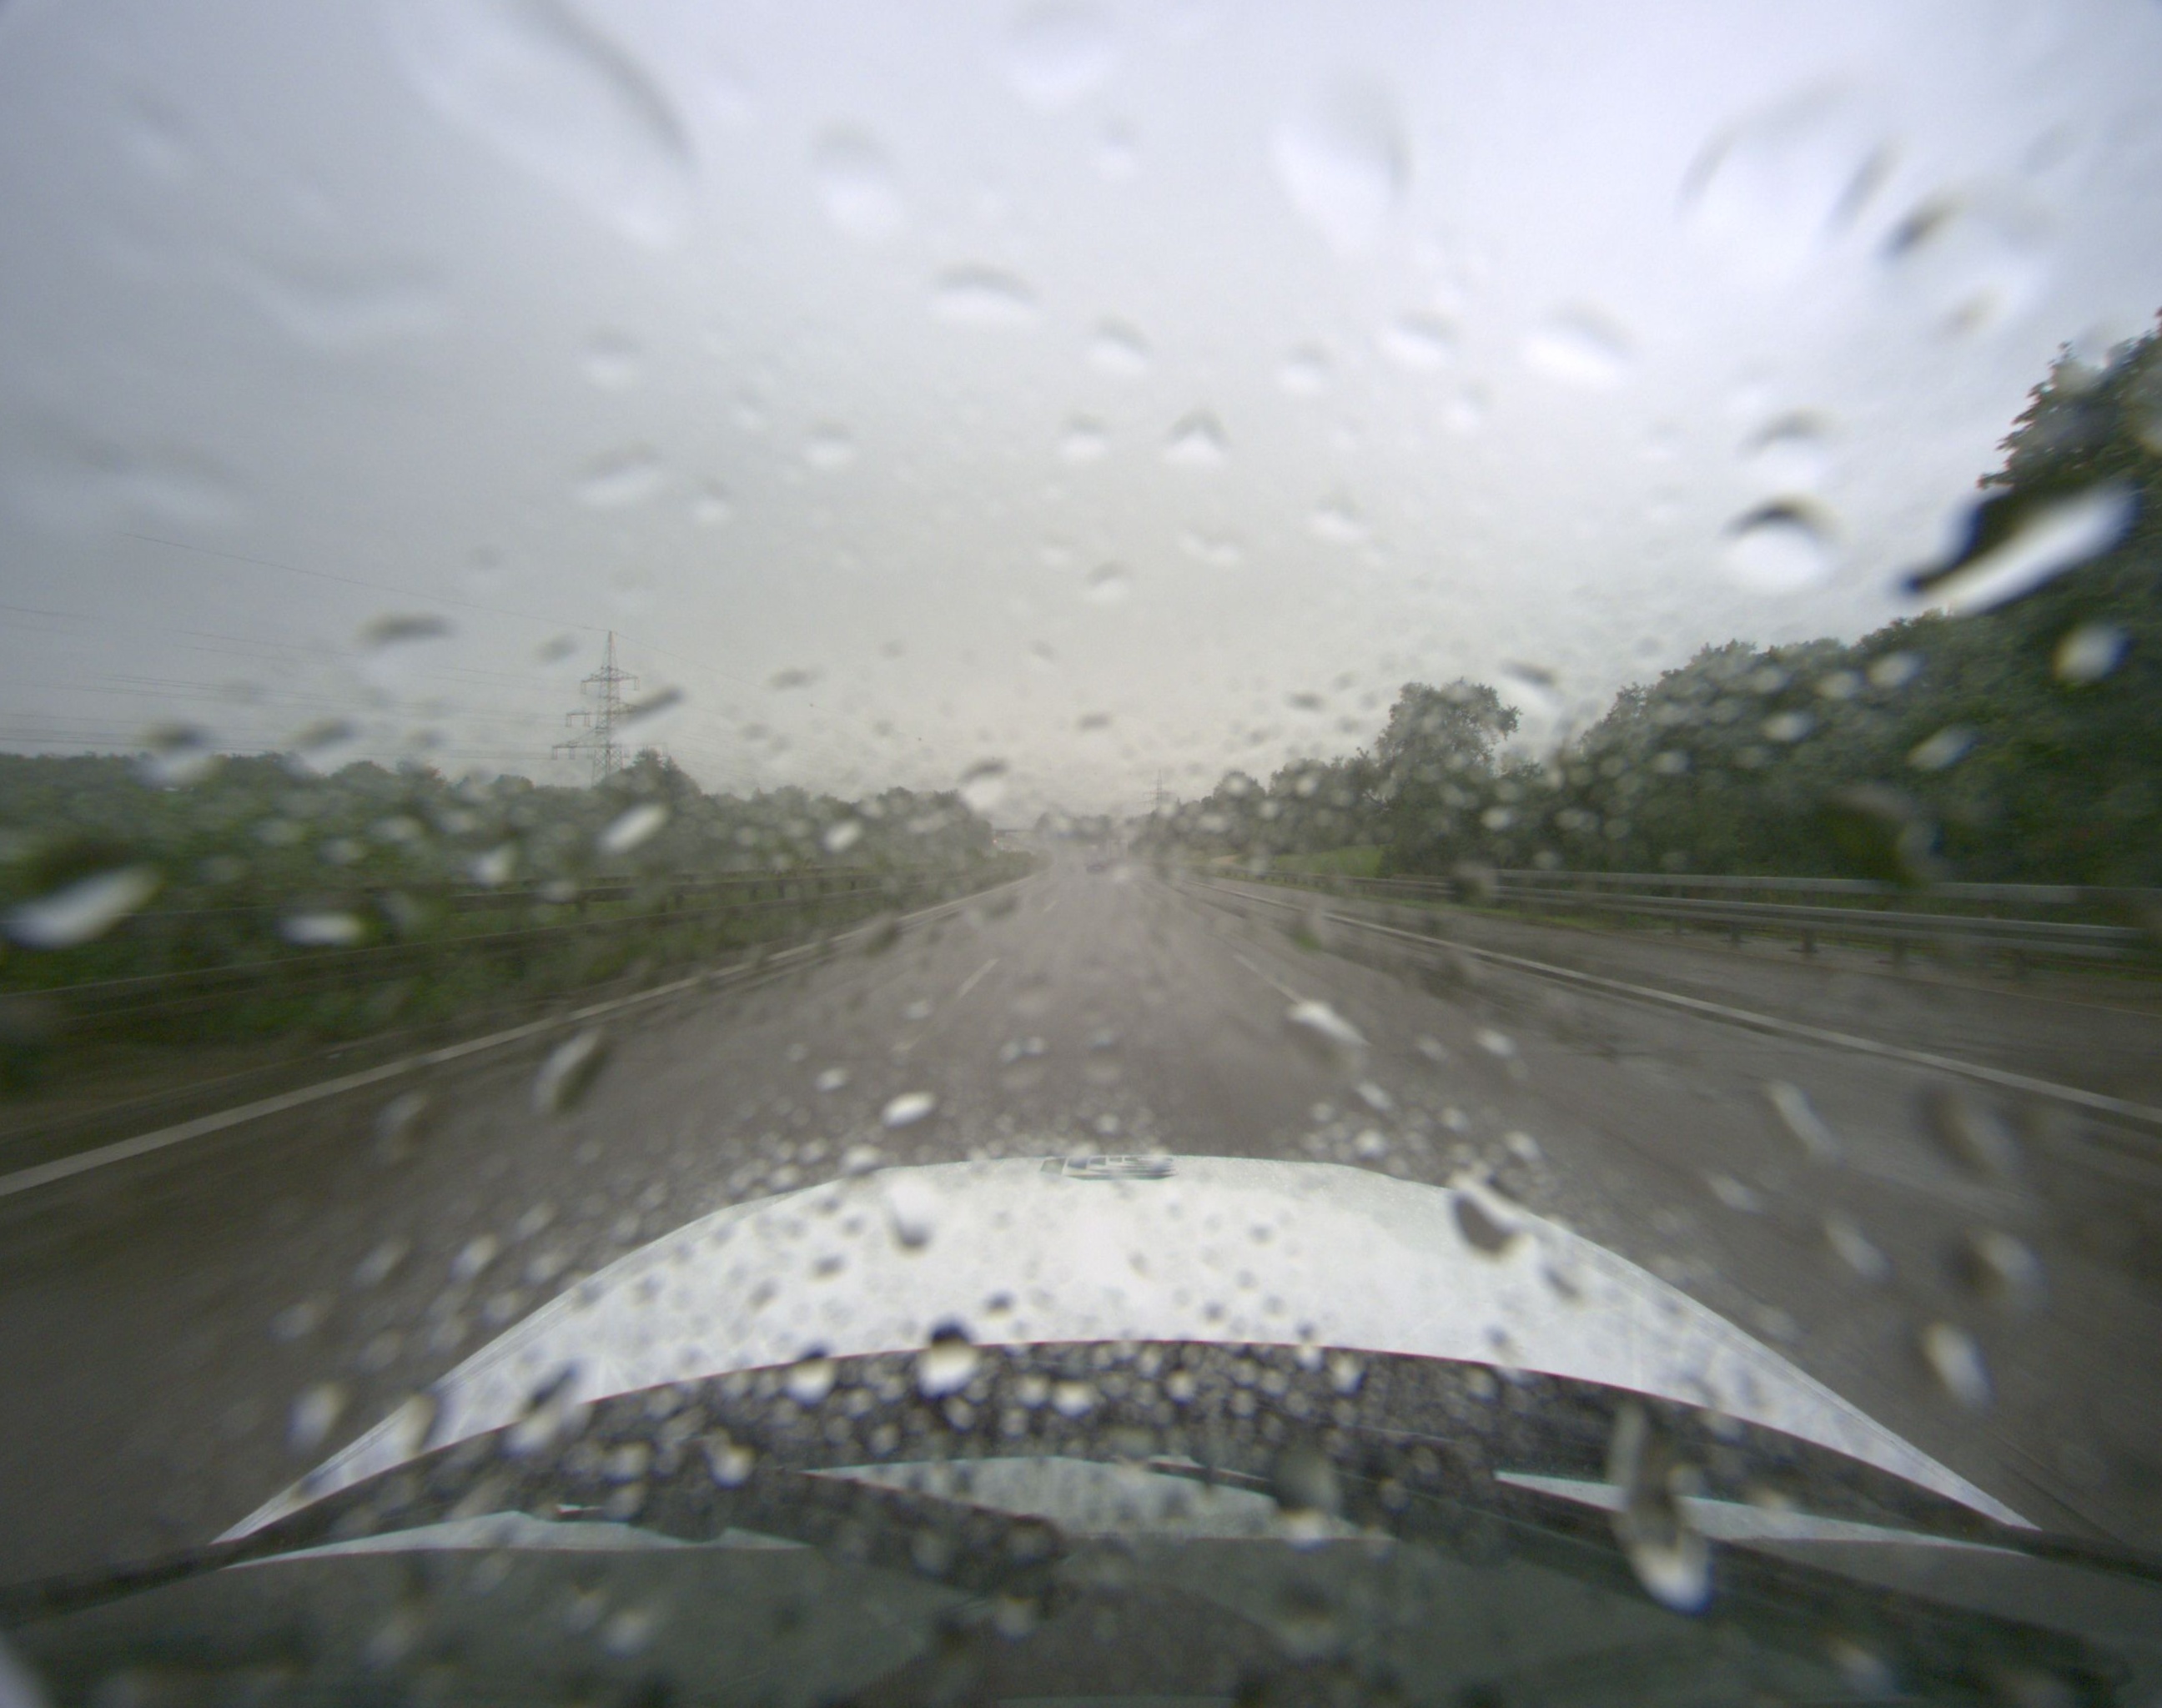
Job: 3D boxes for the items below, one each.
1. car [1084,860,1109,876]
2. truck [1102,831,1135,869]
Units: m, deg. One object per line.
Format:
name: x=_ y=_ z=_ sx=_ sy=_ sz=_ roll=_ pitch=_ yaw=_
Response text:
car: x=1.326 y=1.120 z=67.697 sx=1.740 sy=1.212 sz=4.005 roll=2 pitch=0 yaw=4
truck: x=5.658 y=-0.604 z=119.261 sx=4.238 sy=4.972 sz=17.359 roll=-1 pitch=0 yaw=4
